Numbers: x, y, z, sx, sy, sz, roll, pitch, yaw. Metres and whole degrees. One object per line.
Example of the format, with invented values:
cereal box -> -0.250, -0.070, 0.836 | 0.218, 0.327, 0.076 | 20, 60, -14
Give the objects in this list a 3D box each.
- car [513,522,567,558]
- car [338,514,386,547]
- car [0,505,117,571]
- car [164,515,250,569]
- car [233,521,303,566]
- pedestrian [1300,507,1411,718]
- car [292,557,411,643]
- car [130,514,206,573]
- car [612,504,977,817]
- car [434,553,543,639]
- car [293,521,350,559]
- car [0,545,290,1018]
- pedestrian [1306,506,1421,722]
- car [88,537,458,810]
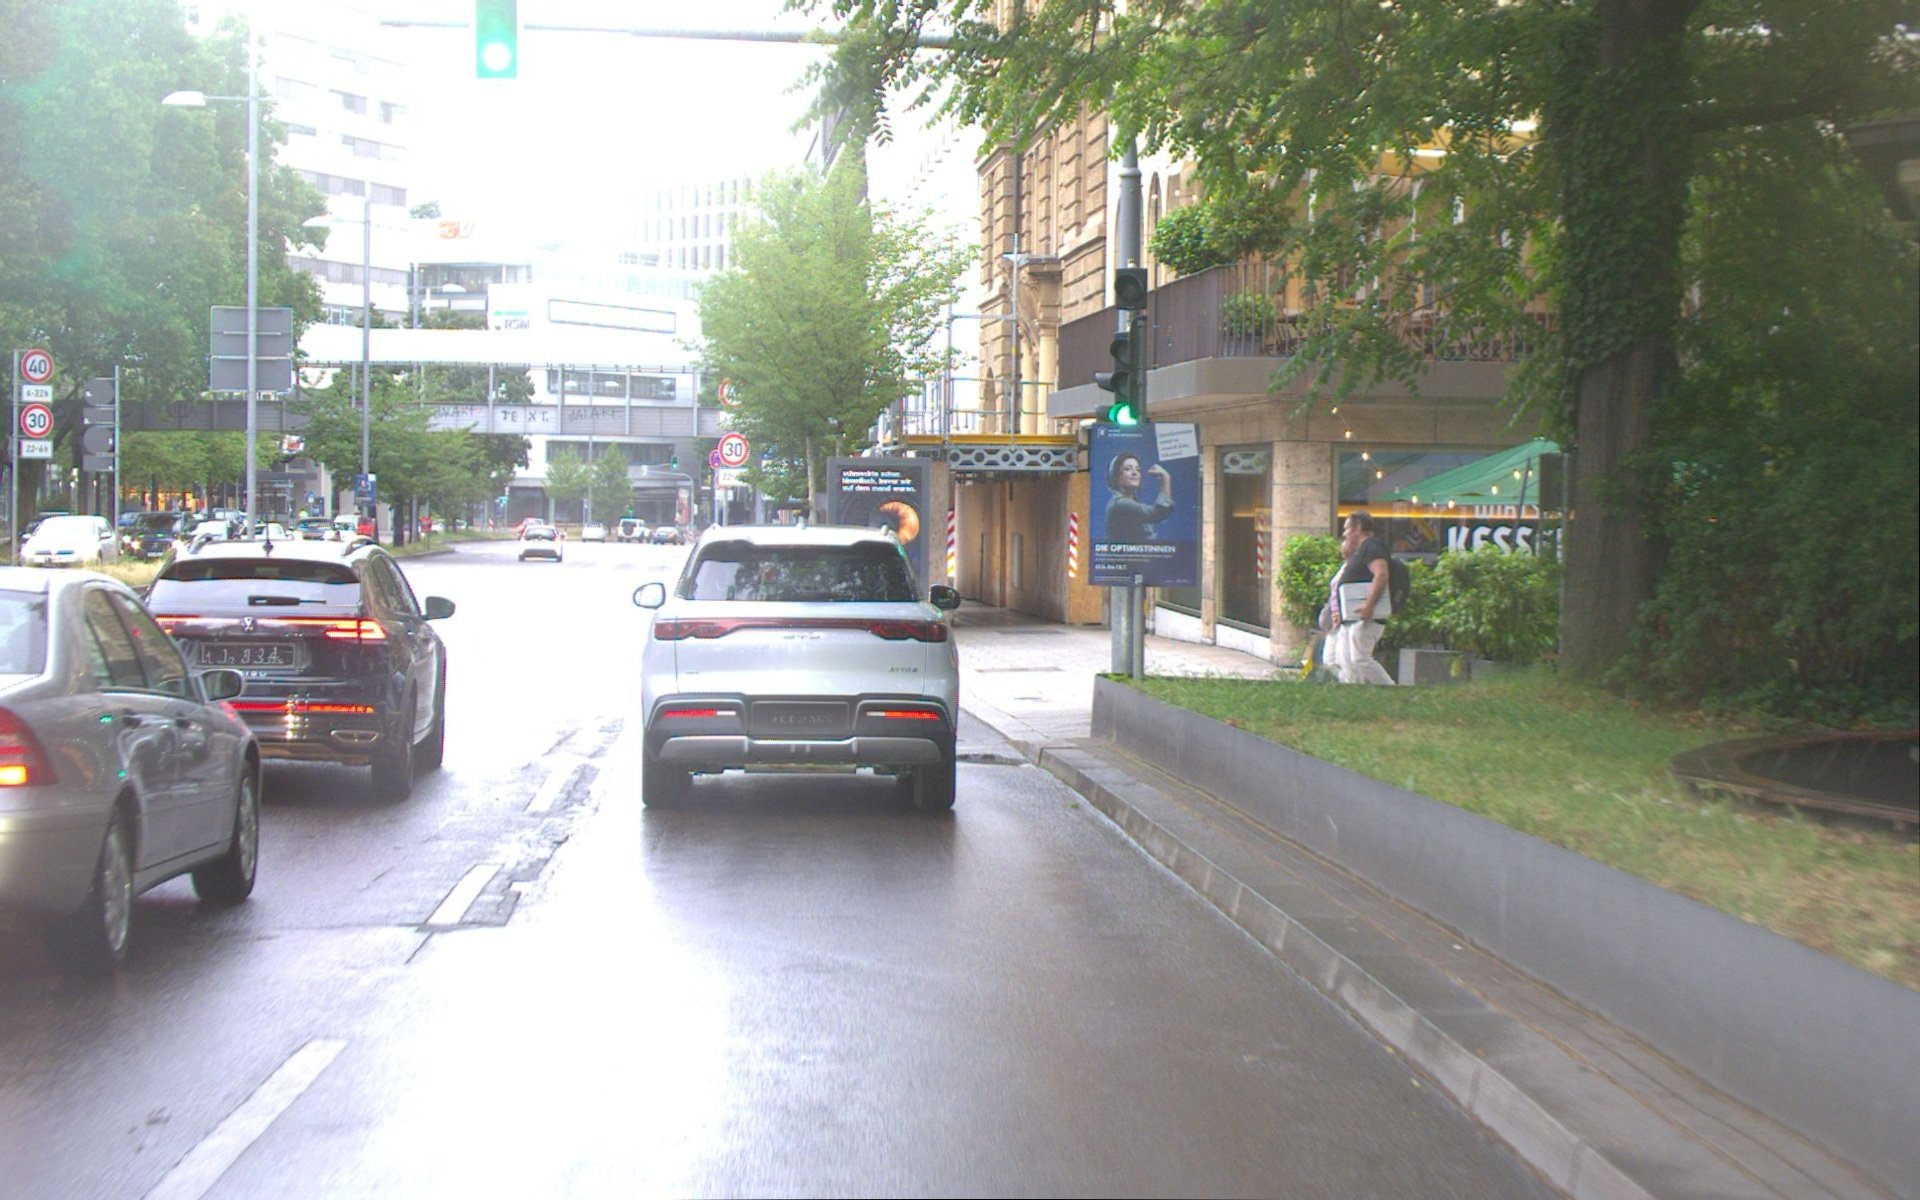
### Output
car -> -17.258, -2.475, 141.375 | 1.978, 1.458, 4.346 | -1, 1, -5
car -> -28.082, -3.277, 161.464 | 1.794, 1.505, 4.346 | -1, 1, -4
car -> -21.064, -1.442, 79.872 | 2.159, 1.458, 4.346 | -1, 1, -4
car -> -21.738, -1.693, 99.401 | 1.794, 1.505, 4.501 | -1, 1, -4
car -> -23.736, -1.944, 117.990 | 1.794, 1.505, 4.501 | -1, 1, -4
pedestrian -> 3.387, 0.100, 29.523 | 0.859, 1.774, 0.718 | 1, 0, 2
car -> -11.068, -0.027, 62.712 | 1.691, 1.458, 4.346 | -1, 1, -4
car -> -26.349, -1.901, 114.487 | 1.794, 1.903, 4.501 | -1, 1, -4
car -> -0.969, 0.299, 21.017 | 1.947, 1.660, 4.346 | 2, 1, -2
car -> -8.587, -0.103, 62.873 | 1.691, 1.458, 4.346 | -1, 1, -4
car -> -25.927, -2.459, 139.641 | 1.794, 1.505, 4.346 | -1, 1, -4
car -> -3.748, 0.548, 12.951 | 1.691, 1.458, 4.346 | -1, 1, -2
pedestrian -> 3.371, 0.109, 28.768 | 0.859, 1.774, 0.718 | 1, 0, 2
car -> -4.097, 0.365, 21.112 | 1.691, 1.458, 4.346 | -1, 1, -4
